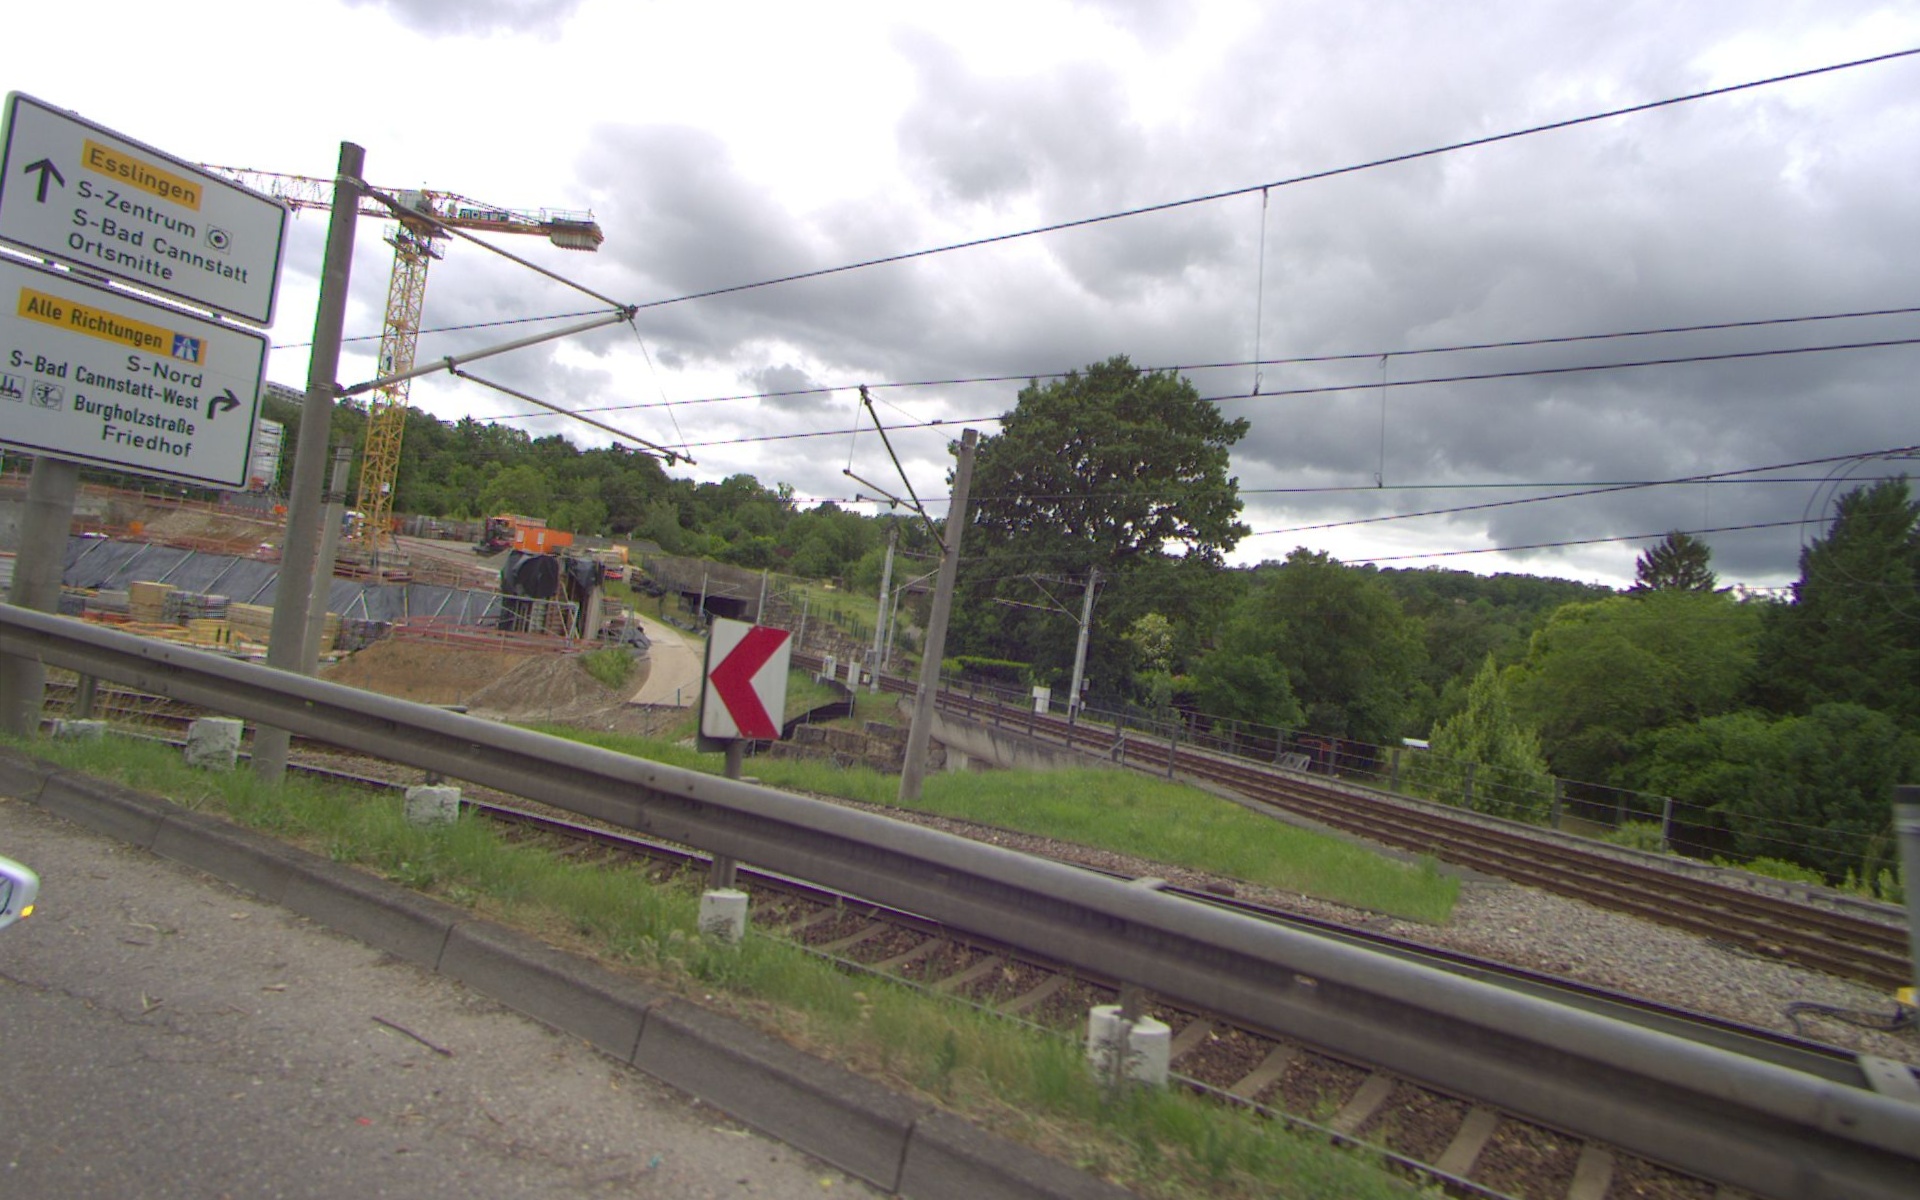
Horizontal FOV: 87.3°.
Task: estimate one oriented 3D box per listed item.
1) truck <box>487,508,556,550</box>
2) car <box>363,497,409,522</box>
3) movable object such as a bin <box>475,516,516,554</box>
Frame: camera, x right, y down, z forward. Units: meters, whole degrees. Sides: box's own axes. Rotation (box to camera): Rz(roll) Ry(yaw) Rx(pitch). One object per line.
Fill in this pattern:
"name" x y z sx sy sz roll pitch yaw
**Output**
"truck" -60.994 -9.752 140.231 3.061 4.270 9.803 8 -1 13
"car" -63.031 -9.908 110.538 1.962 2.037 4.003 7 -2 18
"movable object such as a bin" -44.576 -6.218 96.497 2.747 3.114 1.842 7 -1 15
